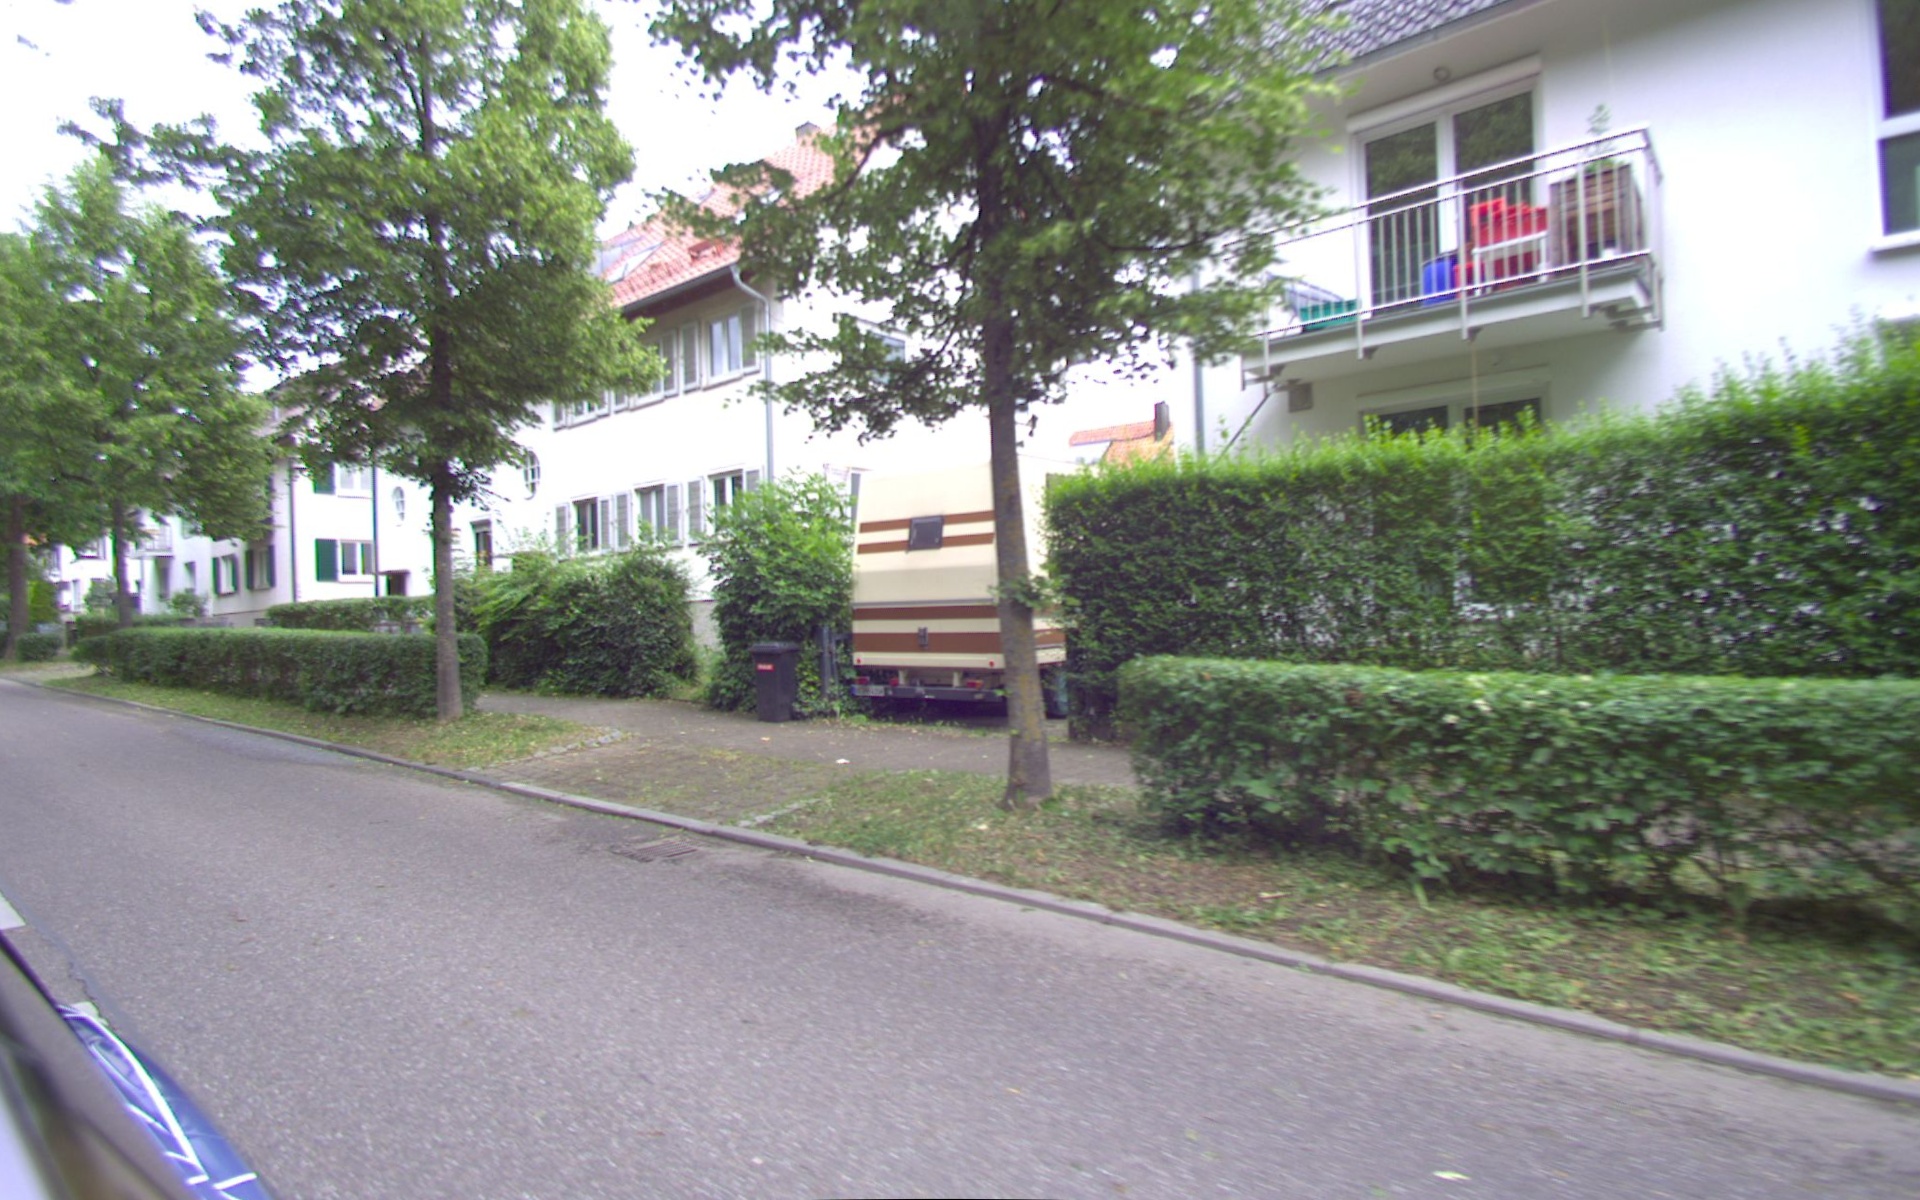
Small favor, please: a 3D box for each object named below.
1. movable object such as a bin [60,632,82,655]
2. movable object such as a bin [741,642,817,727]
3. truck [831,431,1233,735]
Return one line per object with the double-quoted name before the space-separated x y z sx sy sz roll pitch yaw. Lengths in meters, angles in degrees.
"movable object such as a bin" -36.912 1.812 42.025 0.639 0.947 0.555 -1 -1 34
"movable object such as a bin" -2.119 0.967 11.820 0.693 0.933 0.574 -2 -2 42
"truck" 1.251 -0.191 13.538 2.515 3.154 5.740 -2 0 38
